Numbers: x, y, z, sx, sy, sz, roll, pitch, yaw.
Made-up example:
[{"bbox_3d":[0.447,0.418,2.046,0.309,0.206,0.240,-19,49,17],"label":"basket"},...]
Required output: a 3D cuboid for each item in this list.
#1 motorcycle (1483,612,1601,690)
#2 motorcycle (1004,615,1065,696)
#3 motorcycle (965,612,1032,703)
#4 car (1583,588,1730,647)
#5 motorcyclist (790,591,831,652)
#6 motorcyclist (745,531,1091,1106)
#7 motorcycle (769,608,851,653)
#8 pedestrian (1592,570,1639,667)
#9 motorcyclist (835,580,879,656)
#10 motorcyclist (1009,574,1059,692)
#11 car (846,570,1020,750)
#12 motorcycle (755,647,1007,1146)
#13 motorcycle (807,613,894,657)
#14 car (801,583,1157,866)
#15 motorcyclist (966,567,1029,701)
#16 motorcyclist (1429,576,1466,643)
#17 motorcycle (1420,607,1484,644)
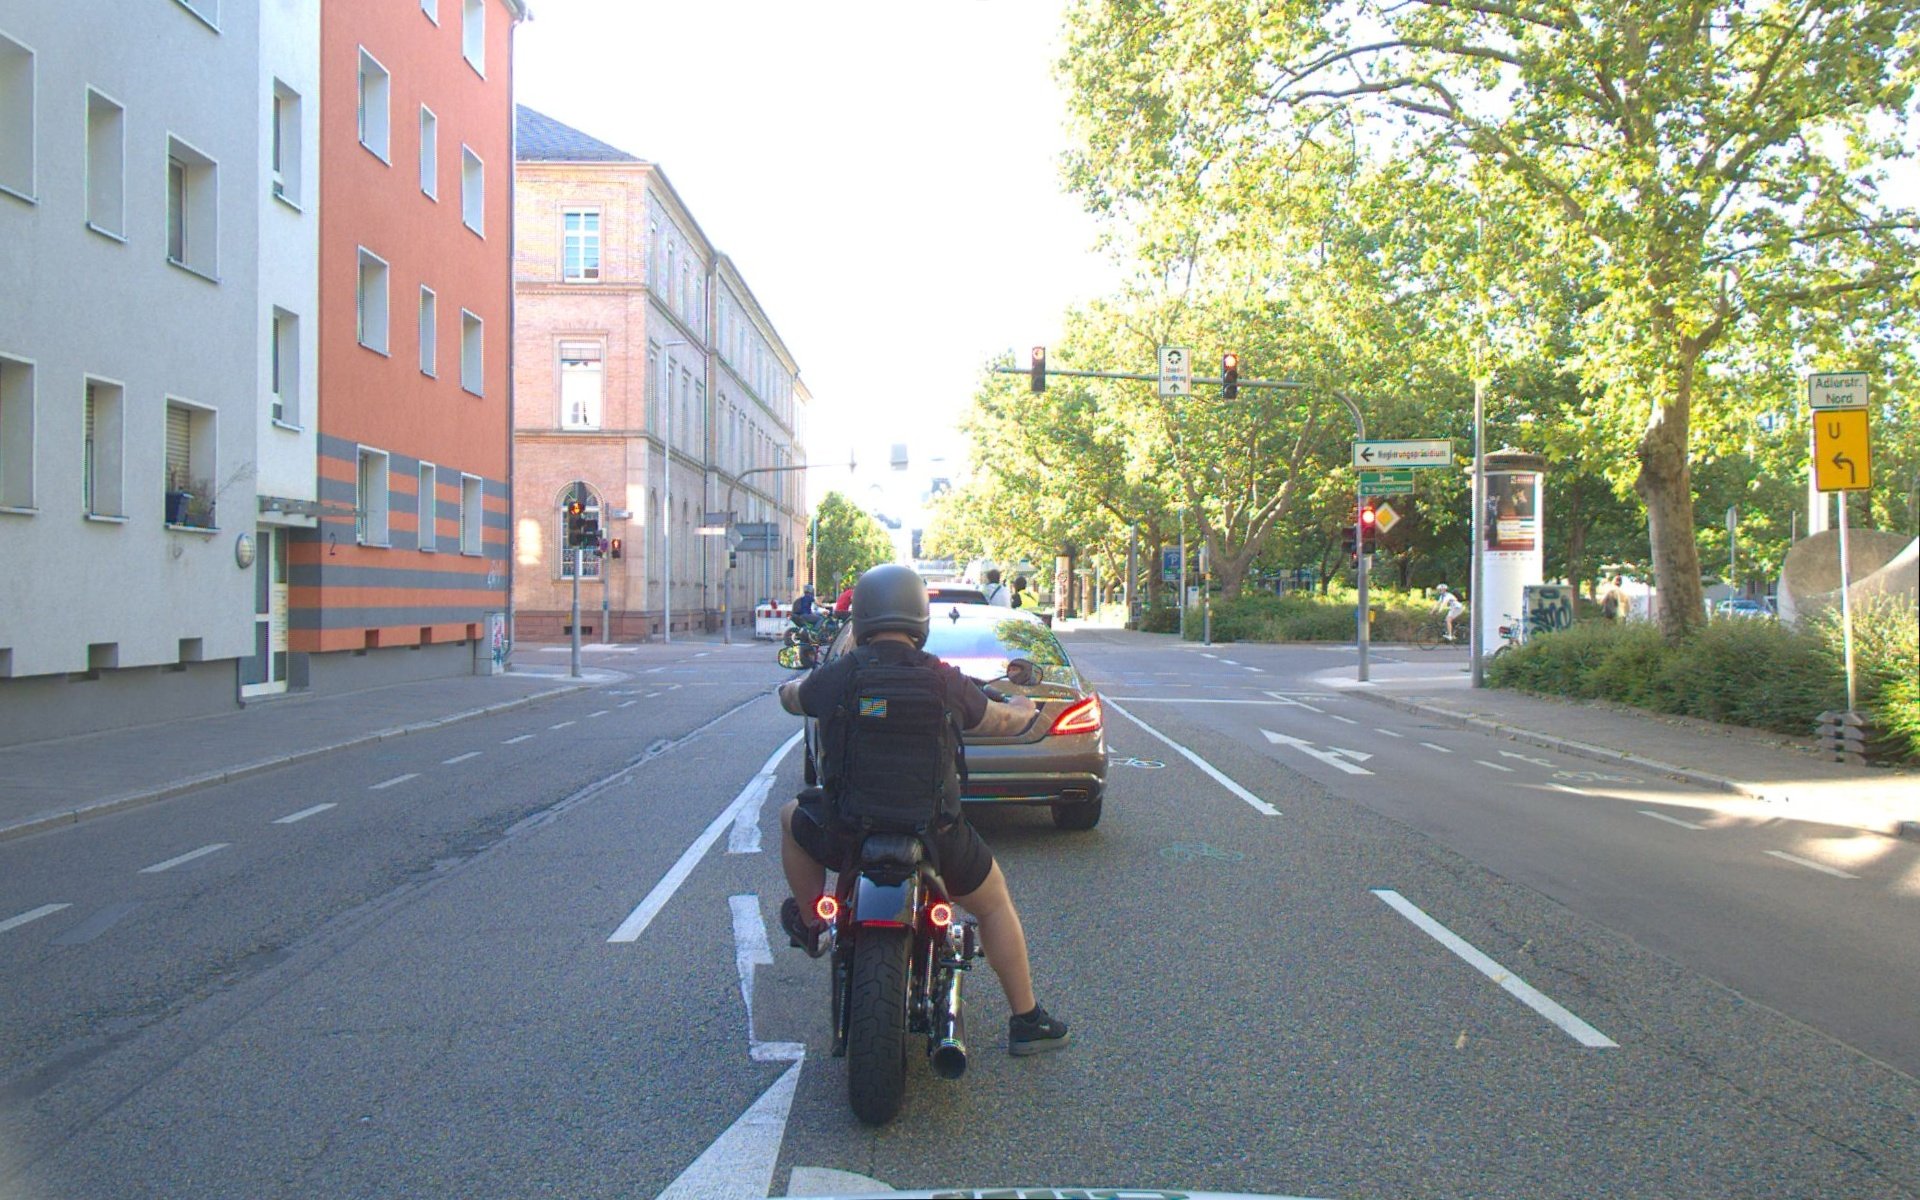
[{"bbox_3d":[9.773,0.844,27.819,1.743,1.265,0.723,1,0,4],"label":"motorcycle"},{"bbox_3d":[1.109,0.820,25.180,0.781,1.151,2.236,1,0,-1],"label":"motorcycle"},{"bbox_3d":[0.511,0.773,22.897,0.845,1.189,1.929,1,0,-1],"label":"motorcycle"},{"bbox_3d":[21.989,0.552,52.290,3.907,1.803,1.737,0,0,-3],"label":"car"},{"bbox_3d":[-3.895,0.558,43.104,0.925,1.564,0.642,1,-1,-18],"label":"motorcyclist"},{"bbox_3d":[-0.127,0.631,5.322,0.970,1.639,1.120,1,0,-1],"label":"motorcyclist"},{"bbox_3d":[-3.911,0.796,43.091,2.048,1.116,0.625,1,-1,-18],"label":"motorcycle"},{"bbox_3d":[12.663,0.355,31.971,0.634,1.859,0.667,0,0,-1],"label":"pedestrian"},{"bbox_3d":[-2.388,0.414,38.501,0.964,1.753,0.550,1,-1,0],"label":"motorcyclist"},{"bbox_3d":[1.124,0.499,25.323,0.702,1.773,0.751,1,-1,-1],"label":"motorcyclist"},{"bbox_3d":[-0.278,0.577,17.662,1.618,1.681,3.999,1,0,-1],"label":"car"},{"bbox_3d":[-0.223,0.816,5.412,0.646,1.261,2.057,1,0,-1],"label":"motorcycle"},{"bbox_3d":[-2.534,0.804,38.495,1.971,0.979,0.580,1,0,0],"label":"motorcycle"},{"bbox_3d":[-0.089,0.687,11.122,1.790,1.512,4.326,1,0,-7],"label":"car"},{"bbox_3d":[0.514,0.462,23.067,0.814,1.820,0.913,1,-1,-1],"label":"motorcyclist"},{"bbox_3d":[13.917,0.281,47.224,0.962,1.909,0.376,0,-1,3],"label":"motorcyclist"},{"bbox_3d":[14.033,0.728,47.186,1.683,1.019,0.416,0,0,3],"label":"motorcycle"}]
